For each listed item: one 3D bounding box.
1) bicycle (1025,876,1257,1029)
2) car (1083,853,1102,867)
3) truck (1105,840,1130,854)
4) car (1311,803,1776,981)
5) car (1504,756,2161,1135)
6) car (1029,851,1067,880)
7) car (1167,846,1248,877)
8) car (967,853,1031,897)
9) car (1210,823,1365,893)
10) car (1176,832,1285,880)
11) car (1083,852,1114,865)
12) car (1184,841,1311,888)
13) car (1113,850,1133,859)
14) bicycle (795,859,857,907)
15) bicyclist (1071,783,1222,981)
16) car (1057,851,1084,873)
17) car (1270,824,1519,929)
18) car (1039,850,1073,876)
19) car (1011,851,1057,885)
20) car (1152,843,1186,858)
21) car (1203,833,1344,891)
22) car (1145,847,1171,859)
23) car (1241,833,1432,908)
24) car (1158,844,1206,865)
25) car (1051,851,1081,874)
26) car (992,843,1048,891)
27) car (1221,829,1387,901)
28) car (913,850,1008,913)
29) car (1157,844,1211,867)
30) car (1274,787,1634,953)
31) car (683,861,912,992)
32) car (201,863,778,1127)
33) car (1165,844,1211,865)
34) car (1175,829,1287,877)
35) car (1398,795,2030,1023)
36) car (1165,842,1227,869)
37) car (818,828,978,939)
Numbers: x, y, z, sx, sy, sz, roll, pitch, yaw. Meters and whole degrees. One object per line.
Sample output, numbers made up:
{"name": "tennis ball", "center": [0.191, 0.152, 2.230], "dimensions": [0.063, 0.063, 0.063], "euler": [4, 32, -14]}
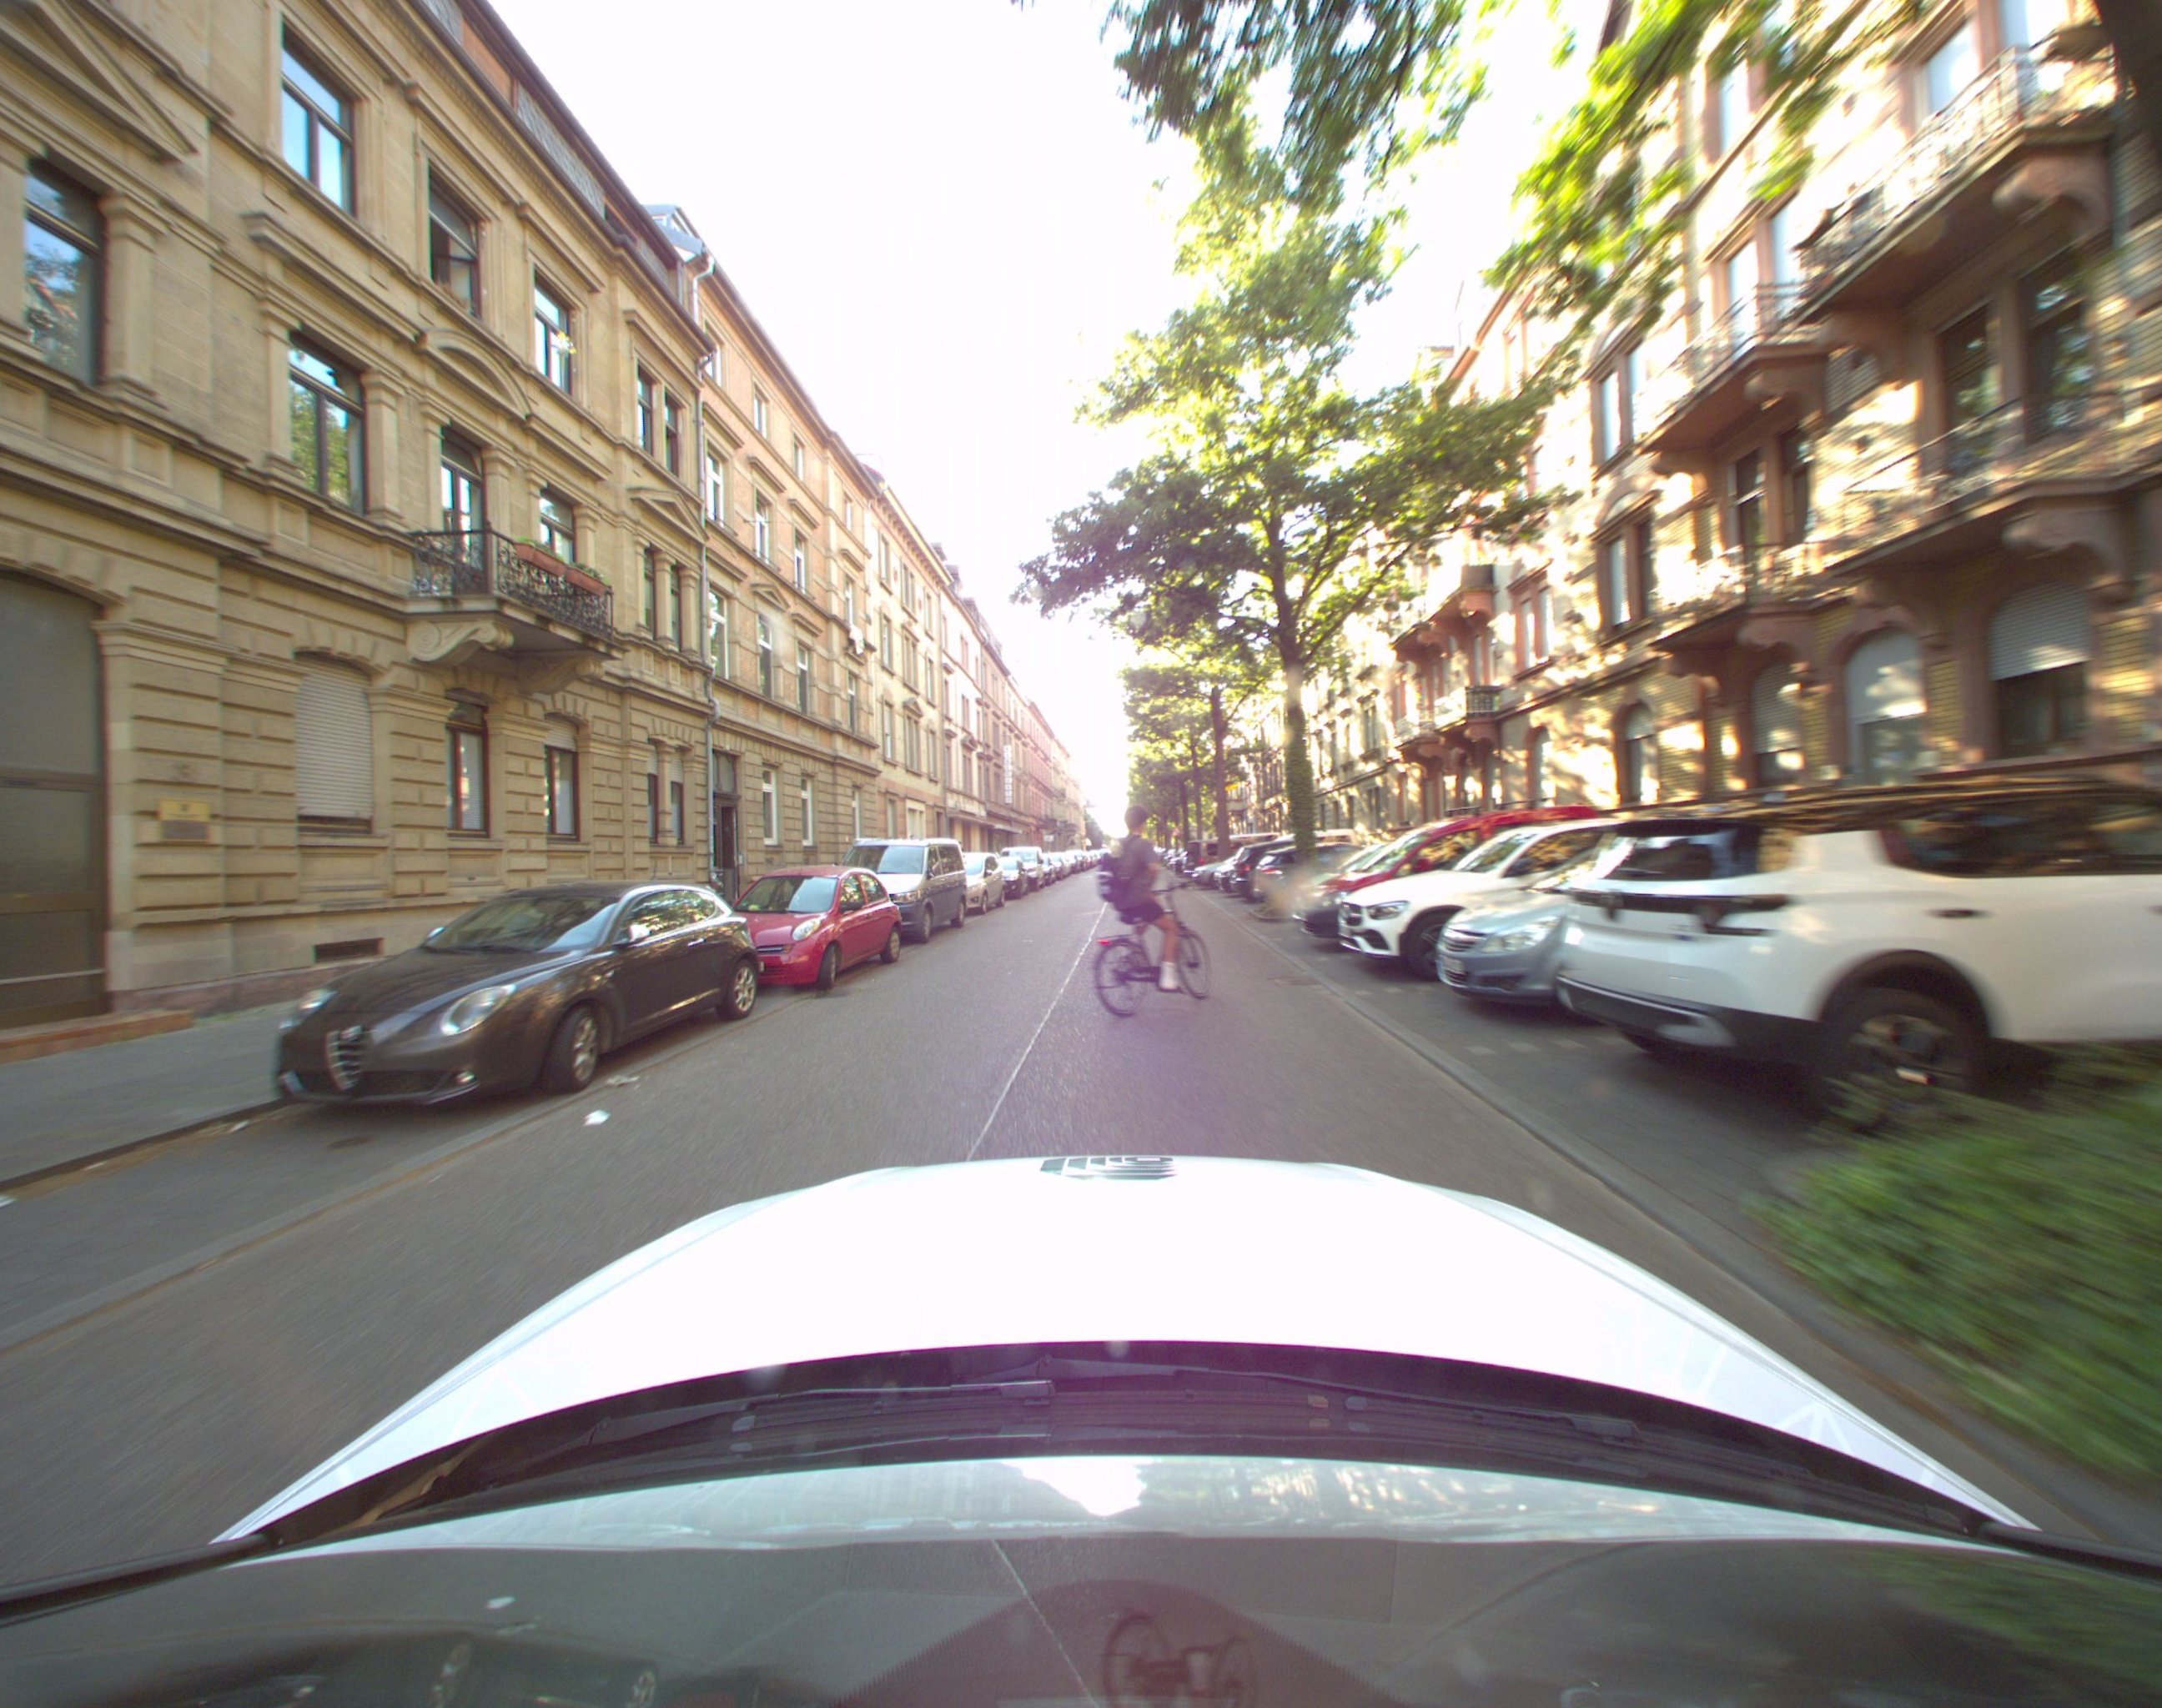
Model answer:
{"name": "bicycle", "center": [0.740, 0.857, 8.183], "dimensions": [0.986, 1.158, 2.942], "euler": [-3, -1, 33]}
{"name": "car", "center": [1.344, 0.708, 93.935], "dimensions": [1.985, 1.486, 4.002], "euler": [-2, -2, 3]}
{"name": "truck", "center": [10.523, -1.883, 233.235], "dimensions": [7.273, 3.950, 2.412], "euler": [0, 0, -33]}
{"name": "car", "center": [5.146, 0.392, 9.563], "dimensions": [4.327, 1.556, 1.851], "euler": [-5, 1, 2]}
{"name": "car", "center": [4.928, 0.375, 4.669], "dimensions": [3.995, 1.628, 1.806], "euler": [-4, -1, 2]}
{"name": "car", "center": [-1.789, 0.588, 45.449], "dimensions": [1.751, 1.473, 4.062], "euler": [-2, 0, 2]}
{"name": "car", "center": [6.516, 0.367, 42.181], "dimensions": [3.838, 1.293, 1.718], "euler": [-4, 0, 0]}
{"name": "car", "center": [-2.878, 0.698, 29.379], "dimensions": [1.751, 1.467, 4.002], "euler": [0, 0, 2]}
{"name": "car", "center": [6.195, 0.125, 24.843], "dimensions": [4.204, 1.776, 1.836], "euler": [-4, 0, 2]}
{"name": "car", "center": [6.528, 0.077, 35.569], "dimensions": [4.230, 1.795, 1.825], "euler": [-4, 0, -16]}
{"name": "car", "center": [2.260, 0.582, 104.583], "dimensions": [1.974, 1.486, 4.025], "euler": [-3, -2, 36]}
{"name": "car", "center": [6.058, 0.373, 29.942], "dimensions": [4.209, 1.403, 1.834], "euler": [-4, 0, -2]}
{"name": "car", "center": [8.836, 0.071, 172.927], "dimensions": [3.961, 1.859, 1.757], "euler": [-1, 0, 11]}
{"name": "bicycle", "center": [-7.261, 0.793, 23.334], "dimensions": [0.737, 1.255, 2.829], "euler": [-1, 0, 3]}
{"name": "bicyclist", "center": [0.676, 0.264, 8.148], "dimensions": [0.986, 1.790, 1.215], "euler": [-3, -1, 33]}
{"name": "car", "center": [-0.747, 0.586, 61.318], "dimensions": [1.751, 1.473, 4.062], "euler": [-2, 0, 2]}
{"name": "car", "center": [5.486, 0.362, 14.559], "dimensions": [3.650, 1.455, 1.848], "euler": [-5, 1, -3]}
{"name": "car", "center": [-1.510, 0.530, 50.316], "dimensions": [1.751, 1.473, 4.062], "euler": [-2, 0, 2]}
{"name": "car", "center": [-2.207, 0.639, 39.355], "dimensions": [1.751, 1.473, 4.062], "euler": [-2, 0, 2]}
{"name": "car", "center": [10.395, -0.412, 96.524], "dimensions": [3.835, 1.573, 1.719], "euler": [-4, 0, 2]}
{"name": "car", "center": [6.454, 0.243, 27.540], "dimensions": [4.213, 1.610, 1.832], "euler": [-4, 0, -4]}
{"name": "car", "center": [11.931, -0.188, 126.822], "dimensions": [3.835, 1.573, 1.719], "euler": [-4, 0, 2]}
{"name": "car", "center": [6.015, 0.382, 19.545], "dimensions": [3.994, 1.467, 1.735], "euler": [-4, -1, 3]}
{"name": "car", "center": [8.886, 0.049, 71.751], "dimensions": [3.844, 1.573, 1.715], "euler": [-4, 0, -5]}
{"name": "car", "center": [-1.020, 0.532, 56.556], "dimensions": [1.751, 1.473, 4.062], "euler": [-2, 0, 2]}
{"name": "car", "center": [-2.503, 0.494, 34.261], "dimensions": [1.751, 1.842, 4.532], "euler": [-2, 0, 2]}
{"name": "car", "center": [5.938, 0.290, 22.081], "dimensions": [3.994, 1.607, 1.735], "euler": [-4, -1, 3]}
{"name": "car", "center": [-3.264, 0.702, 22.925], "dimensions": [1.746, 1.608, 4.388], "euler": [0, 0, 4]}
{"name": "car", "center": [8.138, 0.117, 64.437], "dimensions": [3.844, 1.573, 1.715], "euler": [-4, 0, -5]}
{"name": "car", "center": [5.358, 0.204, 12.147], "dimensions": [4.428, 1.924, 1.850], "euler": [-5, 1, 1]}
{"name": "car", "center": [-3.710, 0.862, 11.361], "dimensions": [1.585, 1.475, 3.705], "euler": [0, 0, 6]}
{"name": "car", "center": [-4.283, 0.862, 6.872], "dimensions": [1.751, 1.501, 4.063], "euler": [0, 0, 3]}
{"name": "car", "center": [9.720, 0.050, 74.118], "dimensions": [3.844, 1.573, 1.715], "euler": [-4, 0, -5]}
{"name": "car", "center": [7.177, -0.066, 39.280], "dimensions": [5.035, 1.925, 1.837], "euler": [-4, 0, 3]}
{"name": "car", "center": [5.147, 0.437, 7.116], "dimensions": [3.994, 1.434, 1.796], "euler": [-5, -1, 3]}
{"name": "car", "center": [7.667, 0.099, 54.481], "dimensions": [3.838, 1.479, 1.718], "euler": [-4, 0, 0]}
{"name": "car", "center": [-3.550, 0.512, 16.952], "dimensions": [1.824, 1.943, 5.265], "euler": [0, 0, 4]}
